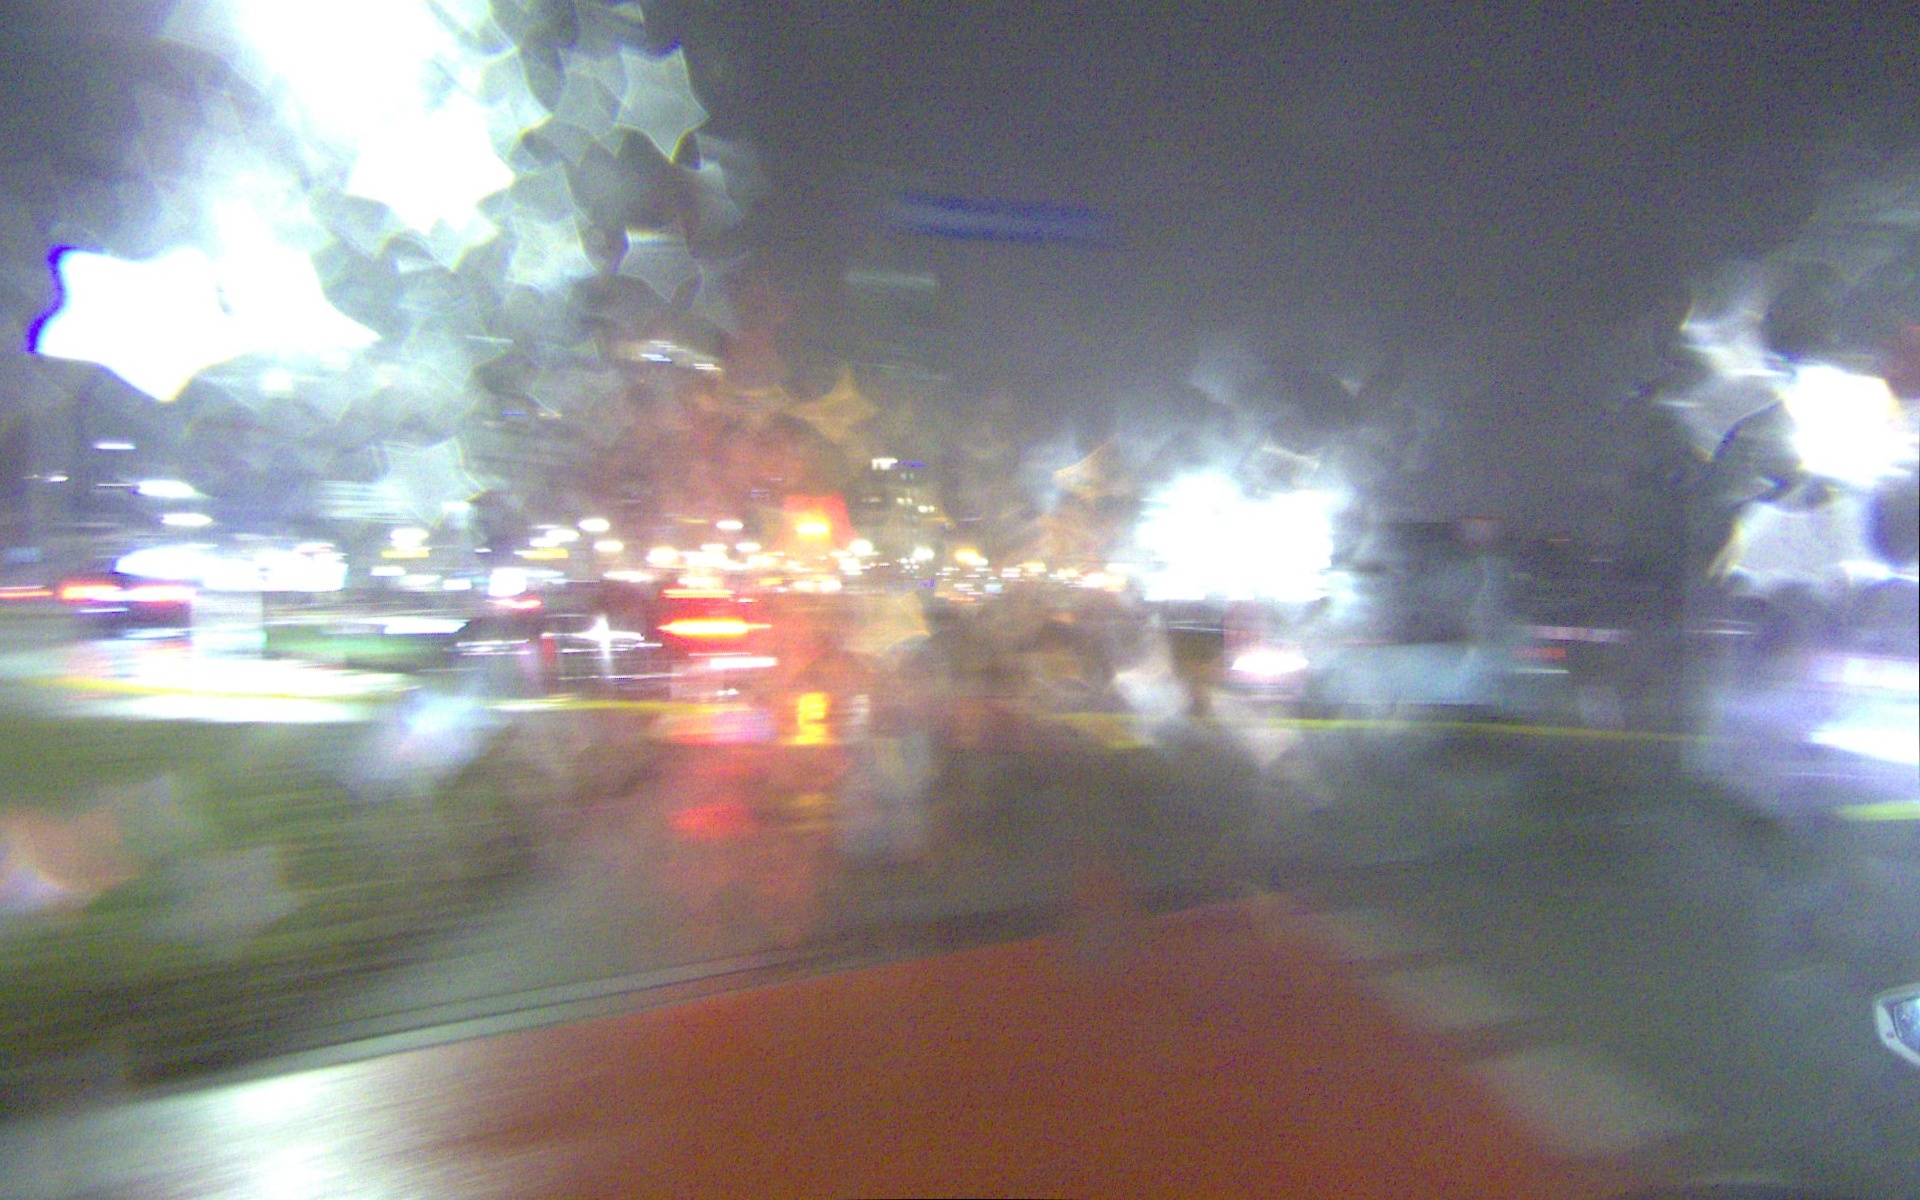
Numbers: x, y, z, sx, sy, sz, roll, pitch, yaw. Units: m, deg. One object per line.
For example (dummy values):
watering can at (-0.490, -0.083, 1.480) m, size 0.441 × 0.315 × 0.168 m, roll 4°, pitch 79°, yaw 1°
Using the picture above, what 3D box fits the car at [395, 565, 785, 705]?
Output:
car at (-4.930, 0.438, 13.837) m, size 4.540 × 1.643 × 2.070 m, roll 2°, pitch 0°, yaw 4°

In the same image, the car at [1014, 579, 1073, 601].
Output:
car at (6.682, -0.779, 80.176) m, size 4.308 × 1.643 × 2.000 m, roll 2°, pitch 1°, yaw 18°

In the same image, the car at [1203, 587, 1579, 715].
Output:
car at (5.618, 0.692, 13.548) m, size 4.217 × 1.474 × 2.001 m, roll 2°, pitch -3°, yaw 3°

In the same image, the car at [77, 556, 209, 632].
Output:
car at (-20.958, -0.172, 25.939) m, size 1.976 × 1.799 × 3.968 m, roll 1°, pitch 1°, yaw -30°

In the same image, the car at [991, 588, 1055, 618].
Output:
car at (4.594, 0.204, 72.675) m, size 4.226 × 1.758 × 2.335 m, roll 4°, pitch -1°, yaw 12°

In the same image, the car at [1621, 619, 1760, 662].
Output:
car at (26.236, 1.437, 36.205) m, size 3.745 × 1.353 × 1.537 m, roll 2°, pitch 1°, yaw 20°

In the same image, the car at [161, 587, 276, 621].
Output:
car at (-38.473, 0.204, 52.246) m, size 1.960 × 1.643 × 4.432 m, roll 2°, pitch 0°, yaw 19°

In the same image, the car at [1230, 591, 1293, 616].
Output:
car at (22.971, 0.280, 76.719) m, size 4.342 × 1.643 × 2.001 m, roll 3°, pitch 2°, yaw 11°

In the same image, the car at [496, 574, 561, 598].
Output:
car at (-32.222, -1.015, 75.156) m, size 1.960 × 1.643 × 4.432 m, roll 2°, pitch 0°, yaw 19°
